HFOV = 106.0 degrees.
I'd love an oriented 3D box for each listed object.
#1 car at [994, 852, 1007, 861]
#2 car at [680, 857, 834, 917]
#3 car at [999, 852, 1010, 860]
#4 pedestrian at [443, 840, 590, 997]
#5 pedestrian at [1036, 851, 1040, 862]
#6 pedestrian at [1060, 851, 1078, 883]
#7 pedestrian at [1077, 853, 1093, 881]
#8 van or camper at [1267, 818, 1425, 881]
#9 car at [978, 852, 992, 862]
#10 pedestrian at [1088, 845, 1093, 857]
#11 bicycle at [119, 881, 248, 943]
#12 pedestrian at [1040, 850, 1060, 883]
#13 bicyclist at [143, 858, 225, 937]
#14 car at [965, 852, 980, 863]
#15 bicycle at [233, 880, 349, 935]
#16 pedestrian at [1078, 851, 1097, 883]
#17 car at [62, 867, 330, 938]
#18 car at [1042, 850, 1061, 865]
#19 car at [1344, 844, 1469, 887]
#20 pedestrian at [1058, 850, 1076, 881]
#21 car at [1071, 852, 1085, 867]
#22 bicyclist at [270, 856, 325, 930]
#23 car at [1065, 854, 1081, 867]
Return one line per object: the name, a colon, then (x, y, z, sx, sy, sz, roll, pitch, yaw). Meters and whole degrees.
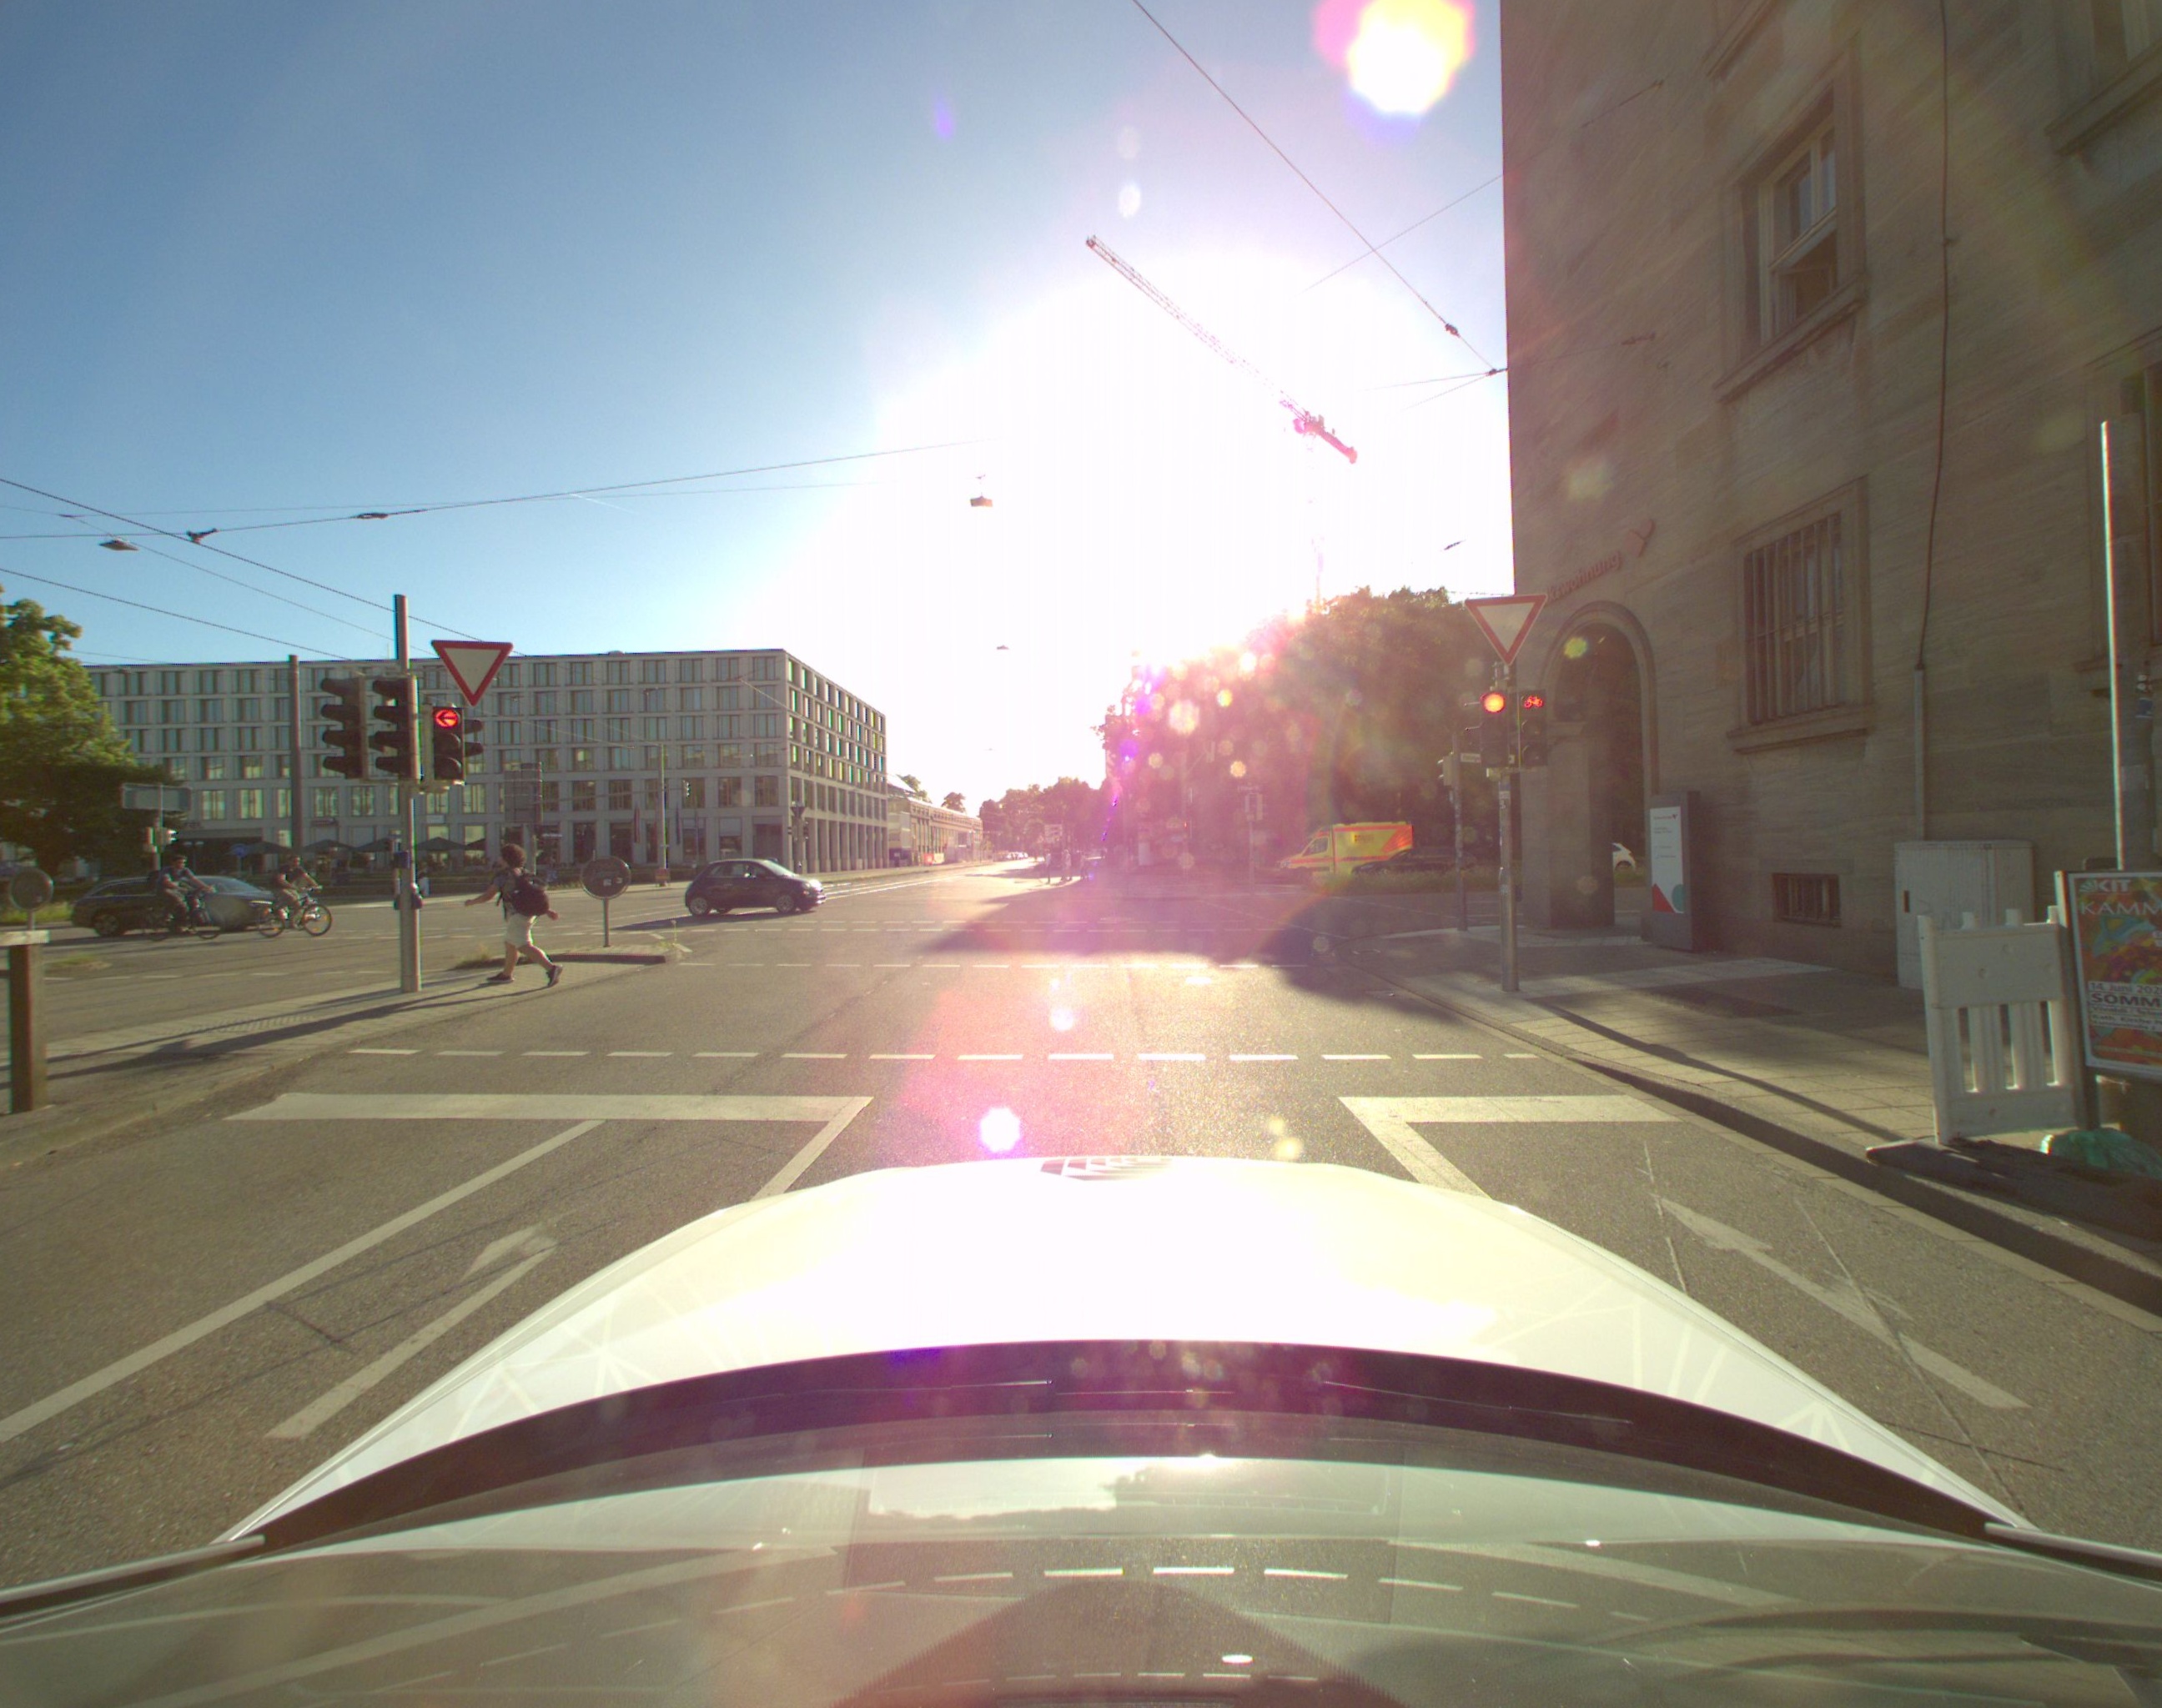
car: (-15.459, 0.436, 156.497, 1.812, 1.712, 3.807, -2, 0, 2)
car: (-8.687, 0.855, 22.016, 3.519, 1.506, 1.522, -1, 0, -1)
car: (-15.014, 0.405, 160.661, 1.603, 1.498, 3.807, -2, 0, 2)
pedestrian: (-6.613, 0.715, 9.619, 1.039, 1.721, 1.032, -2, 0, -10)
pedestrian: (-5.762, 0.335, 109.263, 0.522, 1.484, 0.437, 0, -1, 0)
pedestrian: (-0.683, 0.722, 46.722, 0.849, 1.784, 0.776, -2, 0, -15)
pedestrian: (0.230, 0.749, 46.657, 0.763, 1.558, 0.585, -2, 0, -15)
van or camper: (12.380, -0.182, 38.567, 6.674, 2.862, 2.915, 0, -1, 6)
car: (-17.052, 0.501, 145.024, 1.812, 1.712, 3.807, -2, 0, 2)
pedestrian: (2.967, -0.753, 246.206, 1.396, 3.597, 1.568, 0, -1, 1)
bicycle: (-20.160, 1.292, 18.314, 2.037, 1.288, 0.888, -2, 0, 7)
pedestrian: (-1.717, 0.691, 45.019, 0.967, 1.784, 0.776, -2, 0, -15)
bicyclist: (-20.158, 0.960, 18.324, 0.885, 1.695, 0.846, -2, 0, 7)
car: (-17.825, 0.500, 134.124, 1.812, 1.712, 3.807, -2, 0, 2)
bicycle: (-17.523, 1.187, 18.094, 1.913, 1.122, 0.792, -2, 0, 7)
pedestrian: (0.361, 0.714, 45.920, 0.849, 1.784, 0.776, -2, 0, -15)
car: (-22.889, 1.219, 21.192, 4.880, 1.656, 1.935, -1, 1, 2)
car: (-2.981, 0.371, 82.120, 1.678, 1.501, 3.510, 0, -1, 2)
car: (13.025, 0.458, 32.788, 4.297, 1.647, 1.889, 0, -1, 2)
pedestrian: (-0.819, 0.649, 47.515, 0.849, 1.784, 0.776, -2, 0, -15)
car: (-0.381, 0.775, 107.840, 1.678, 1.962, 3.510, 0, -1, 2)
bicyclist: (-17.361, 0.850, 18.063, 0.615, 1.582, 0.595, -2, 0, 7)
car: (-0.844, 0.763, 92.227, 1.678, 1.501, 3.510, 0, -1, 2)
